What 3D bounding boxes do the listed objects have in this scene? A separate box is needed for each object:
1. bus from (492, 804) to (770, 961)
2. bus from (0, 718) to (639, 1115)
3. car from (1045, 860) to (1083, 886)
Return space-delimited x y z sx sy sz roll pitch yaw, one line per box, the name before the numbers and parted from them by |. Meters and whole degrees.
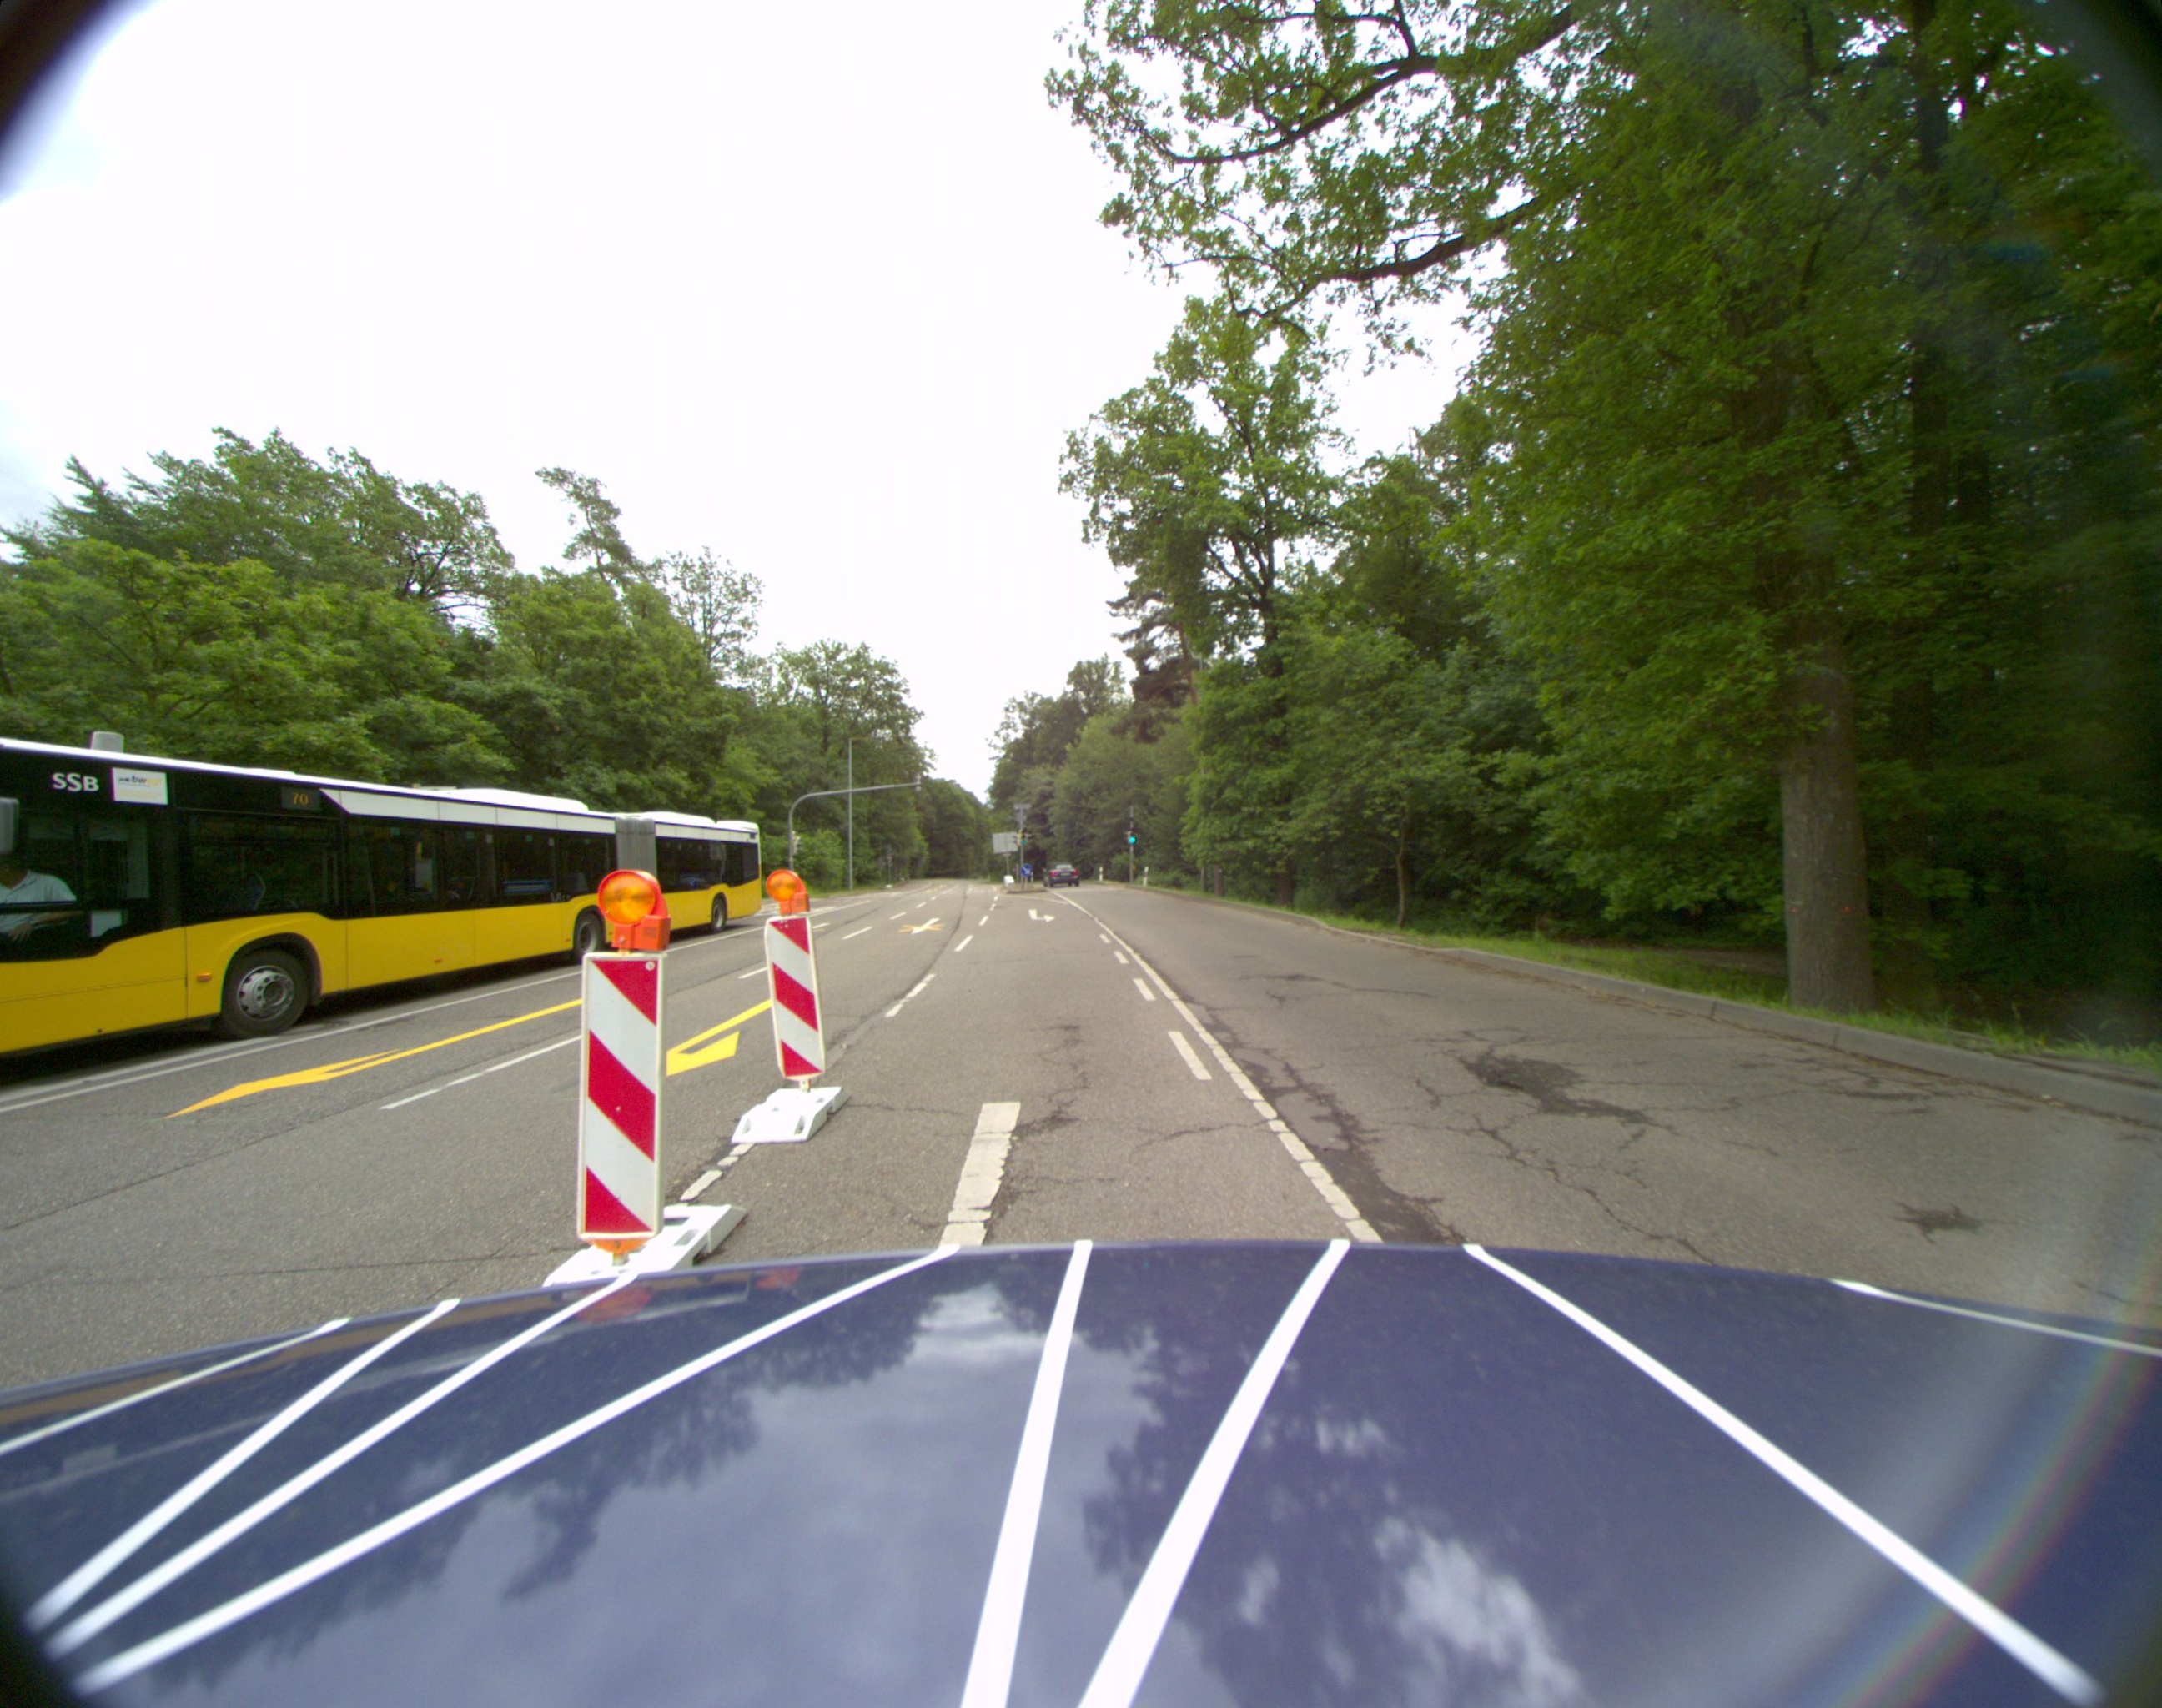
bus | -10.801 0.603 19.460 2.811 3.140 7.754 -2 0 -4
bus | -10.243 0.551 10.344 2.811 3.140 10.515 -2 0 -4
car | -1.052 1.090 44.789 1.752 1.322 3.997 -2 1 -8
